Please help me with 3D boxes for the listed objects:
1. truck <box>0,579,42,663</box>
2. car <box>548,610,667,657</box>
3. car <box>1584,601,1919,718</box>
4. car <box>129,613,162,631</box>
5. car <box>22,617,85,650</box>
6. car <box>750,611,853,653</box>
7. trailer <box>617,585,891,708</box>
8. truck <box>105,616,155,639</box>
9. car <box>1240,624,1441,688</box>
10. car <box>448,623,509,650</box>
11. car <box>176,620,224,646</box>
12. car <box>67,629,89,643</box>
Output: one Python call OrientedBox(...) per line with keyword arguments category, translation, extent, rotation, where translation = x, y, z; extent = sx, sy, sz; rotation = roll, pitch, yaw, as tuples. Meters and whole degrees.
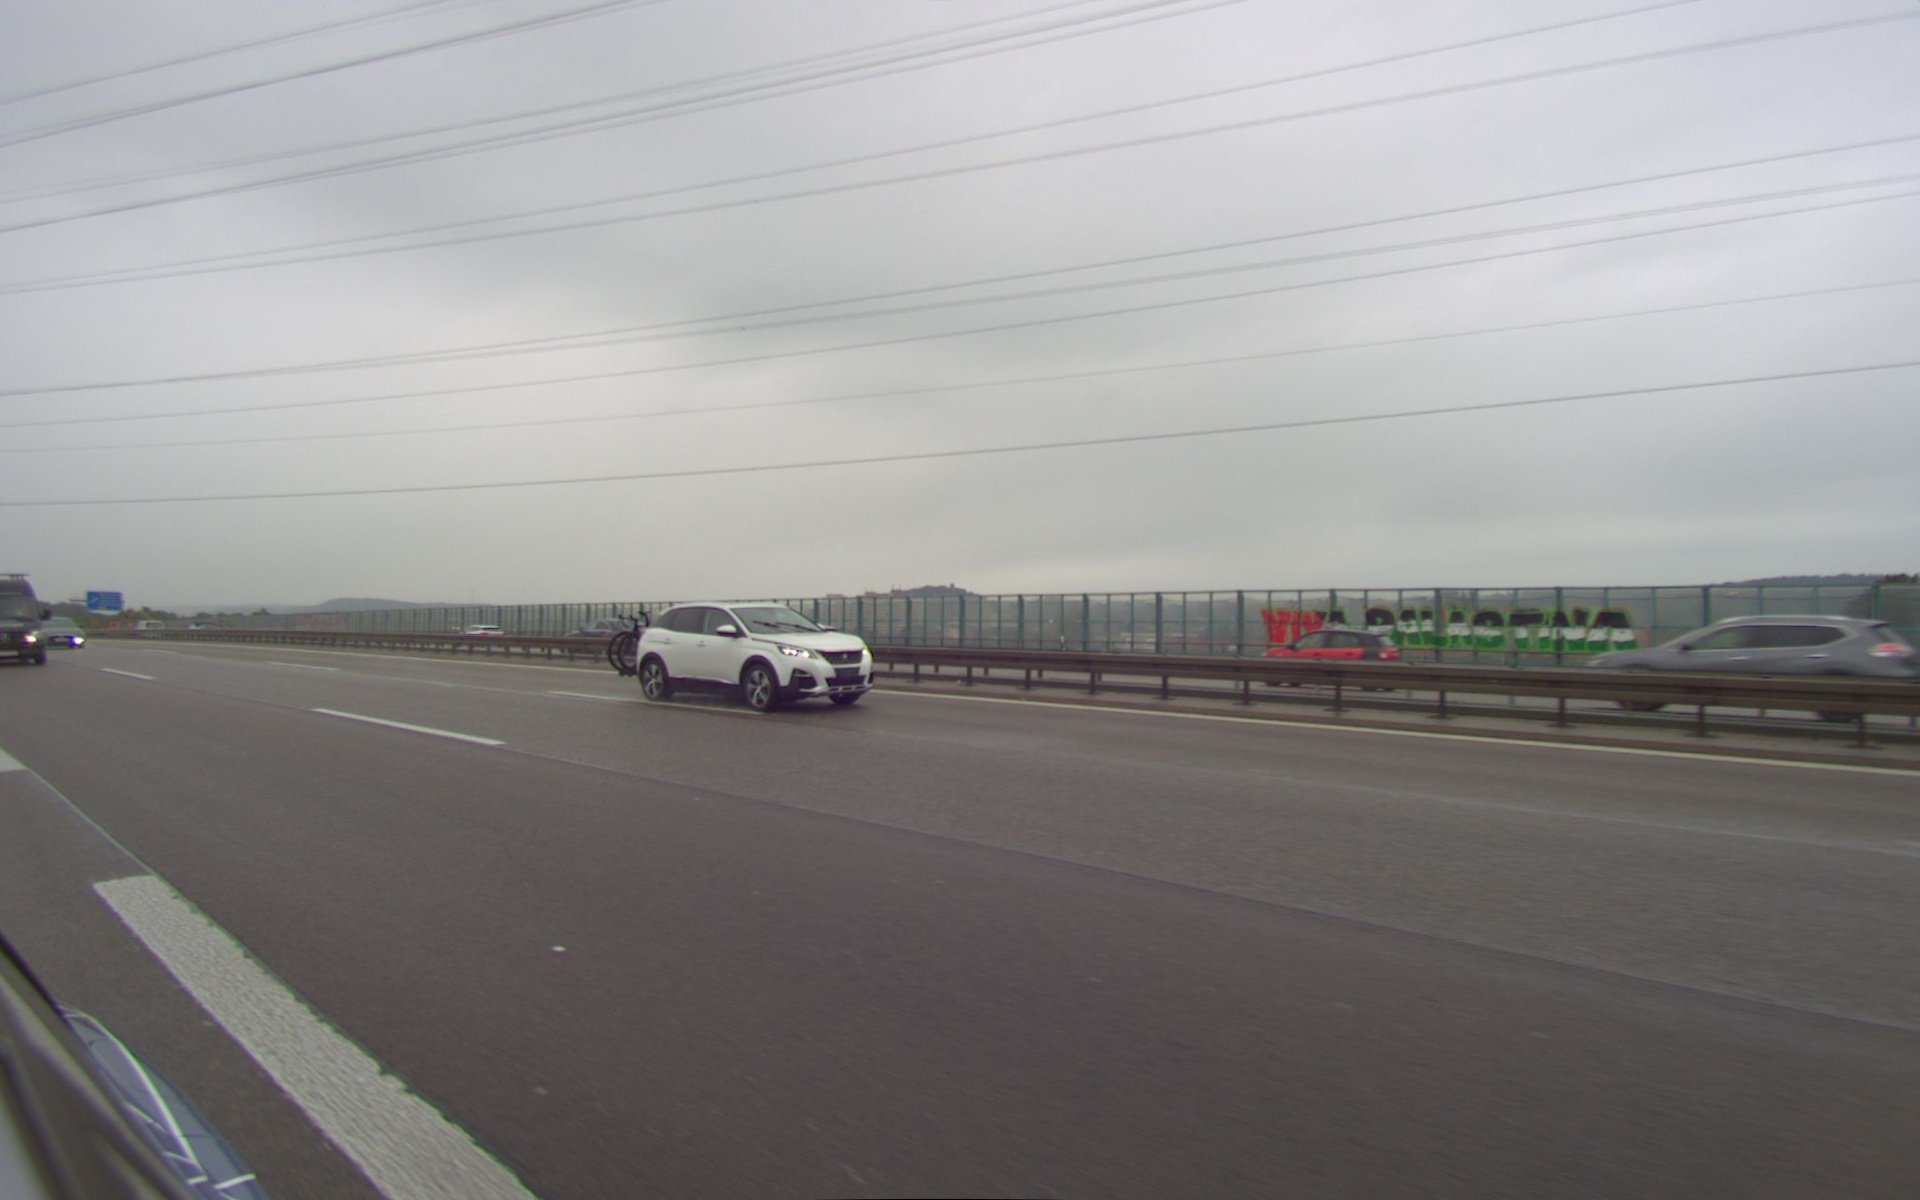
OrientedBox(category="truck", translation=(-29.560, 0.551, 30.464), extent=(6.106, 2.355, 1.974), rotation=(1, 0, 40))
OrientedBox(category="car", translation=(-12.205, 1.141, 34.910), extent=(4.465, 1.441, 1.822), rotation=(0, -3, 41))
OrientedBox(category="car", translation=(13.379, 0.945, 17.242), extent=(4.465, 1.757, 1.822), rotation=(0, -3, 41))
OrientedBox(category="car", translation=(-83.745, 2.211, 104.043), extent=(4.465, 1.757, 1.901), rotation=(0, 0, 41))
OrientedBox(category="car", translation=(-41.071, 1.506, 45.833), extent=(4.828, 1.413, 1.706), rotation=(-2, -1, 43))
OrientedBox(category="car", translation=(-7.101, 1.361, 45.172), extent=(4.698, 1.677, 1.973), rotation=(1, 1, 40))
OrientedBox(category="trailer", translation=(-3.292, 0.647, 15.627), extent=(4.566, 1.637, 1.796), rotation=(-1, -1, 42))
OrientedBox(category="truck", translation=(-123.200, 4.047, 150.082), extent=(14.317, 2.856, 3.572), rotation=(1, 1, 42))
OrientedBox(category="car", translation=(9.688, 1.406, 25.962), extent=(4.465, 1.441, 1.822), rotation=(0, -3, 41))
OrientedBox(category="car", translation=(-32.313, 2.397, 67.901), extent=(4.698, 1.677, 1.973), rotation=(-1, 0, 41))
OrientedBox(category="car", translation=(-56.721, 2.438, 75.495), extent=(4.465, 1.757, 1.822), rotation=(0, -3, 41))
OrientedBox(category="car", translation=(-115.877, 4.736, 132.900), extent=(3.784, 1.596, 1.609), rotation=(-2, 4, 42))
